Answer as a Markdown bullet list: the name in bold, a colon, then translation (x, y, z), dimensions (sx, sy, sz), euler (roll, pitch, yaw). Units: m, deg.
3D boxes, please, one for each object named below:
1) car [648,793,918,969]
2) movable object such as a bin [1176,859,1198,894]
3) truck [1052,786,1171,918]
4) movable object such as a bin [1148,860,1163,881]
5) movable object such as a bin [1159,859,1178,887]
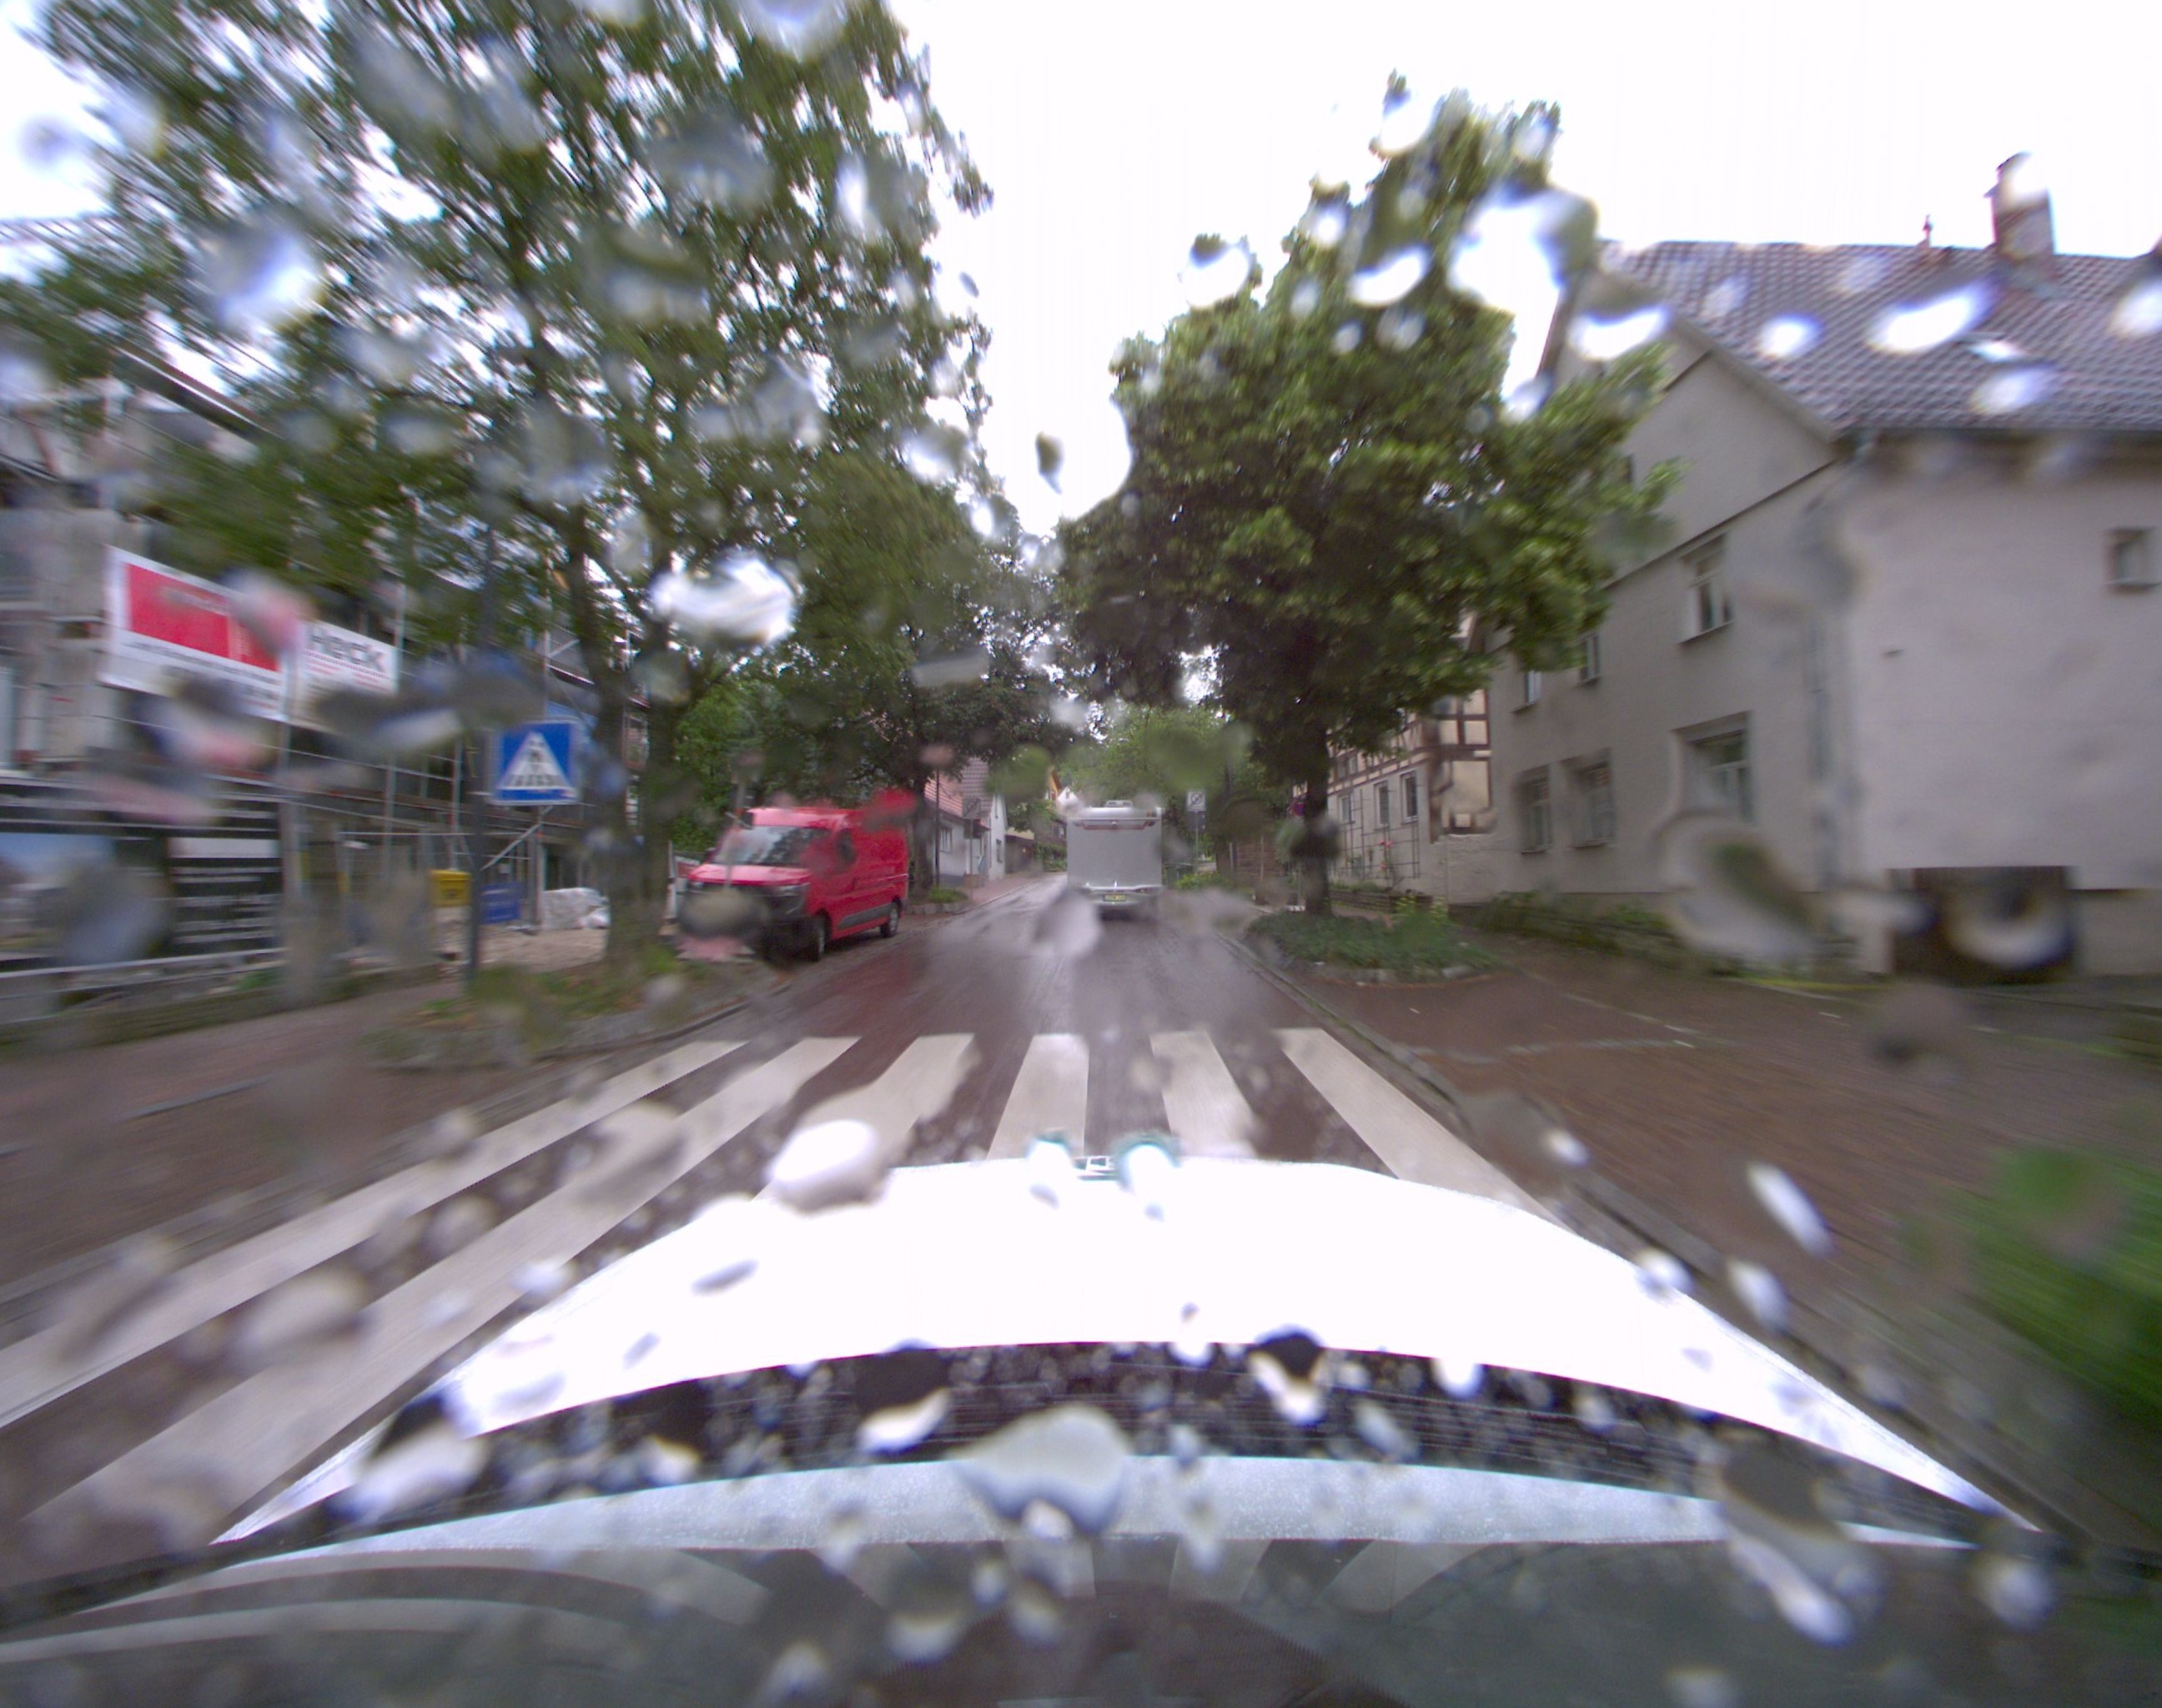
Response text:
- **car**: translation (-4.837, 0.364, 14.490), dimensions (2.293, 2.483, 5.791), euler (-1, 0, 4)
- **movable object such as a bin**: translation (3.723, 0.799, 28.680), dimensions (0.718, 1.213, 0.727), euler (-1, -1, 2)
- **truck**: translation (0.775, -0.082, 21.721), dimensions (2.684, 2.985, 6.239), euler (-1, 1, 1)
- **movable object such as a bin**: translation (4.090, 0.899, 44.810), dimensions (0.766, 1.107, 0.885), euler (-3, -1, 2)
- **movable object such as a bin**: translation (3.707, 0.799, 34.539), dimensions (0.721, 1.143, 0.703), euler (-1, -1, -1)
